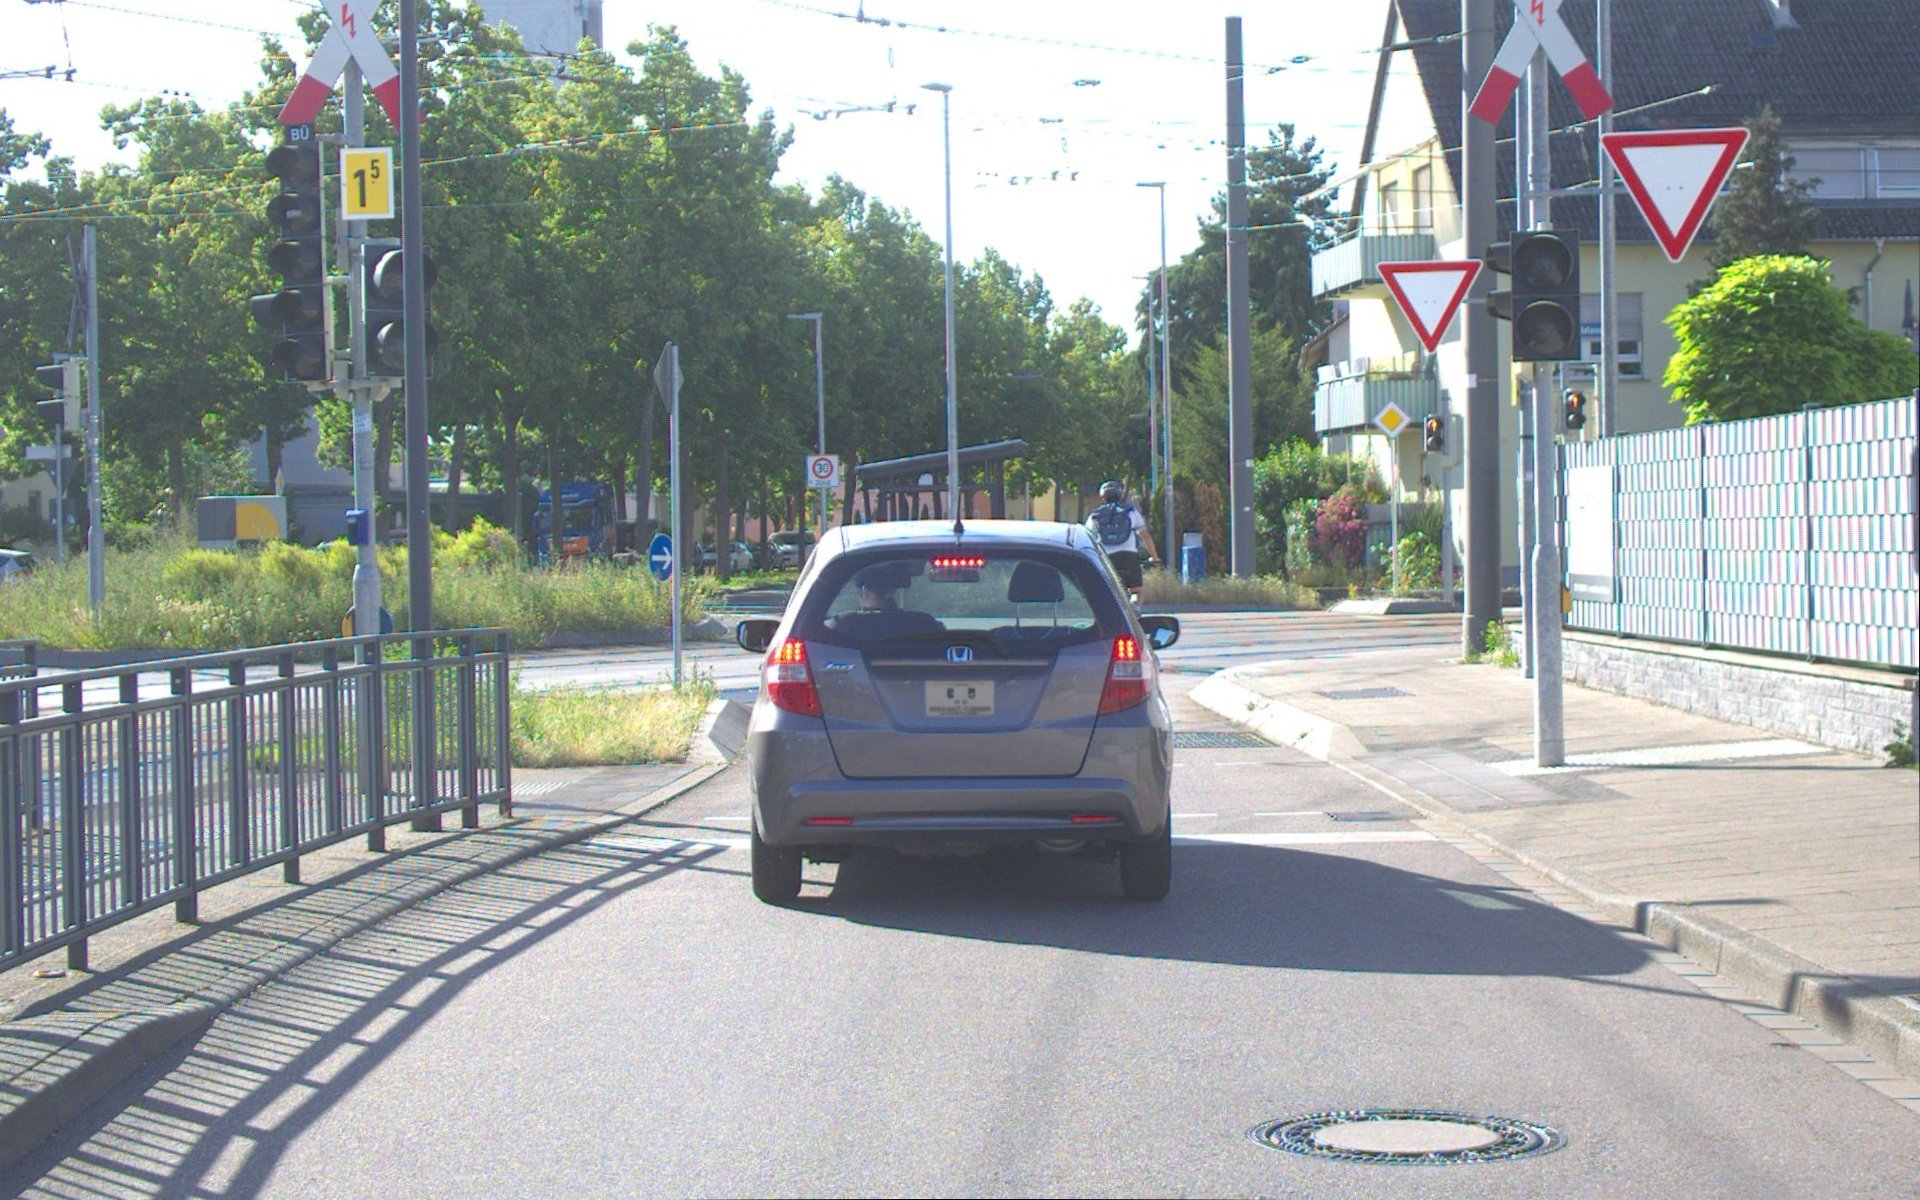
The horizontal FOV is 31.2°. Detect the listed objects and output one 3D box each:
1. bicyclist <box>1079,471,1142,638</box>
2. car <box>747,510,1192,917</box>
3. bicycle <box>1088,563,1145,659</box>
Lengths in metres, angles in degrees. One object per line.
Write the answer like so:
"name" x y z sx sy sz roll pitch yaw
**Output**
"bicyclist" 1.540 -0.465 35.240 0.598 1.695 0.683 0 0 -1
"car" -0.028 0.393 14.683 1.670 1.530 3.487 0 1 -2
"bicycle" 1.611 0.102 35.561 0.475 0.958 1.657 0 1 -1
